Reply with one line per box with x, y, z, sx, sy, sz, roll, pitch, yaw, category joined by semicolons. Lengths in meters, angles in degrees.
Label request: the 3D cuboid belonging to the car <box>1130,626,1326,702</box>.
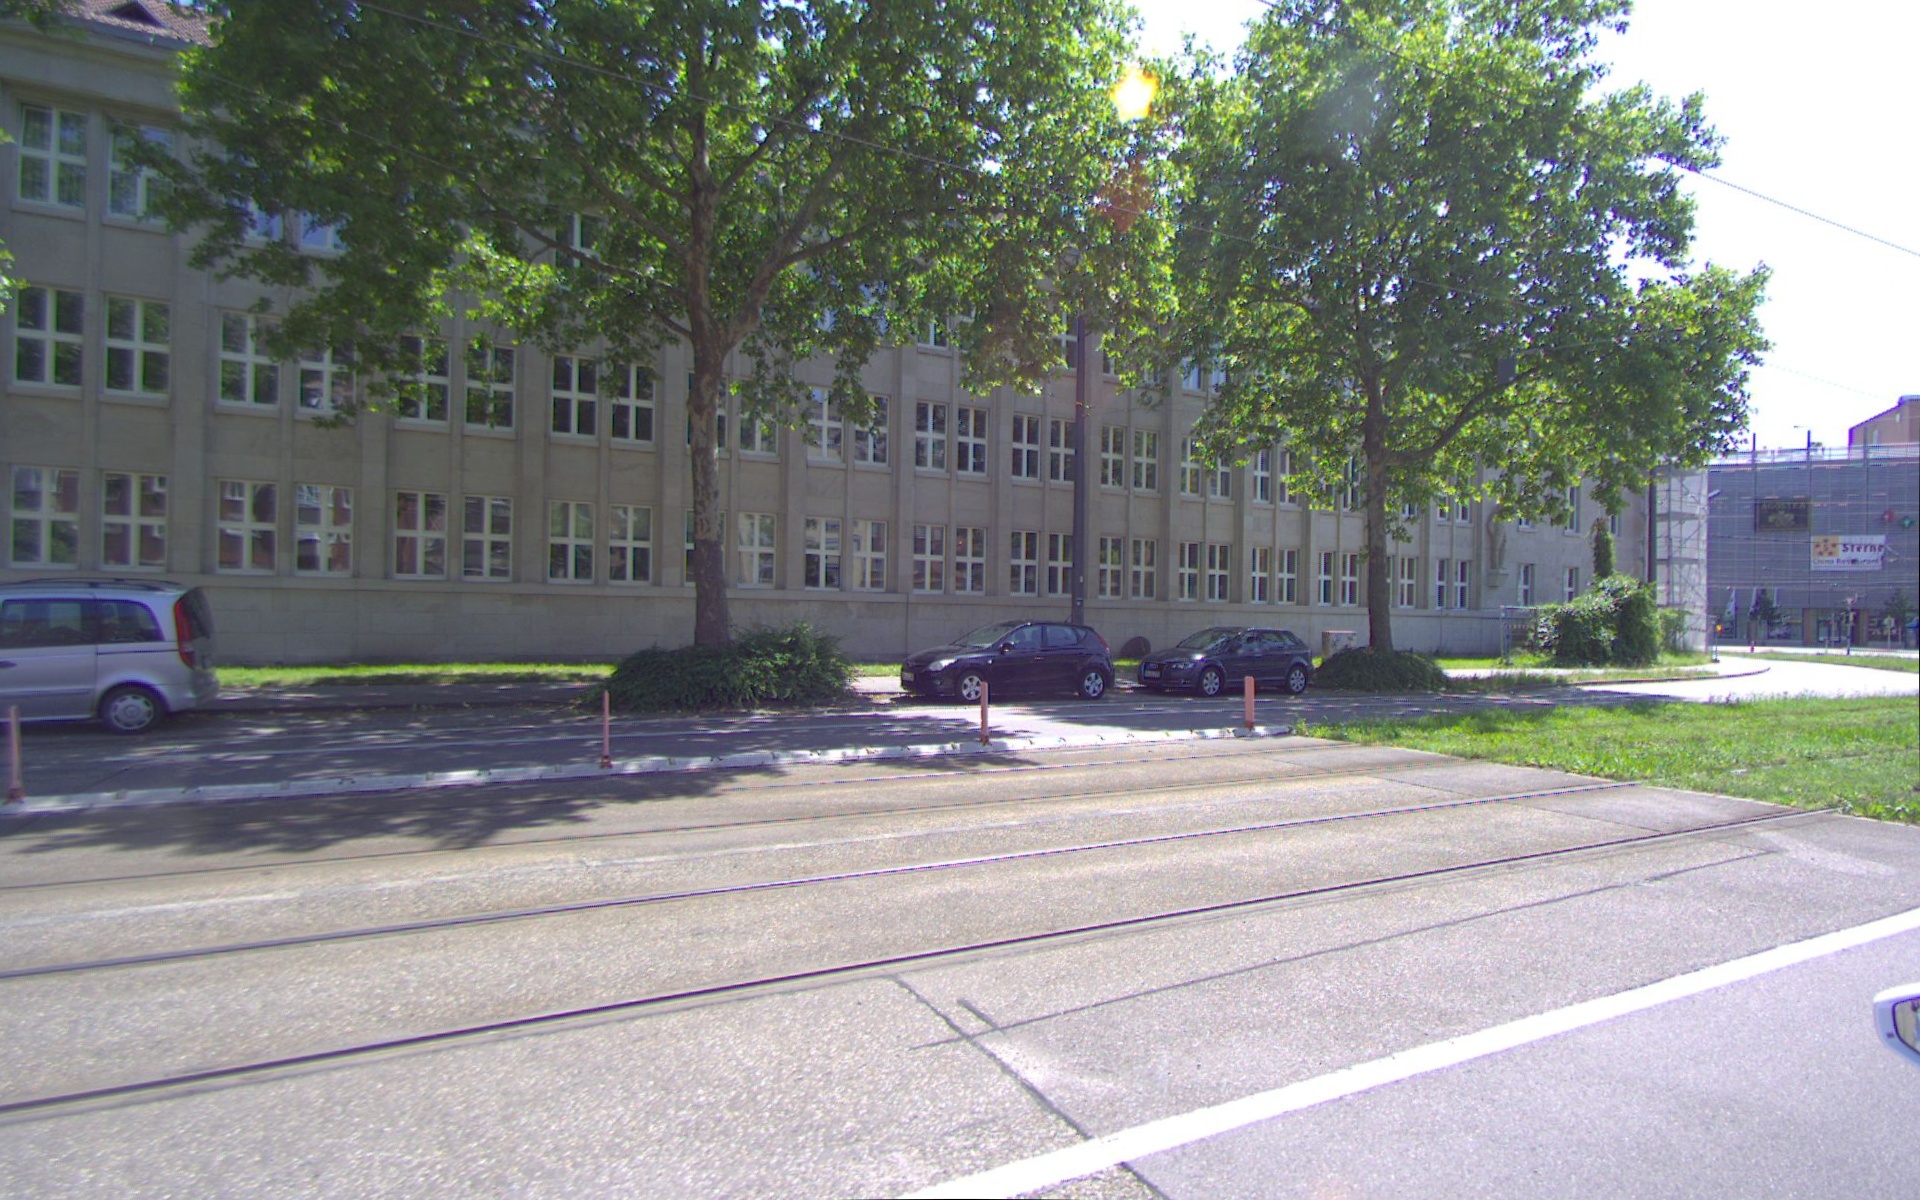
5.793;1.339;21.562;4.276;1.443;1.579;2;0;-32;car

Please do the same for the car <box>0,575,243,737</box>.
-11.570;0.625;12.279;4.245;1.835;1.986;2;0;-27;car

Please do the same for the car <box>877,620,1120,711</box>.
0.761;1.193;18.961;4.269;1.503;1.756;2;0;-28;car
